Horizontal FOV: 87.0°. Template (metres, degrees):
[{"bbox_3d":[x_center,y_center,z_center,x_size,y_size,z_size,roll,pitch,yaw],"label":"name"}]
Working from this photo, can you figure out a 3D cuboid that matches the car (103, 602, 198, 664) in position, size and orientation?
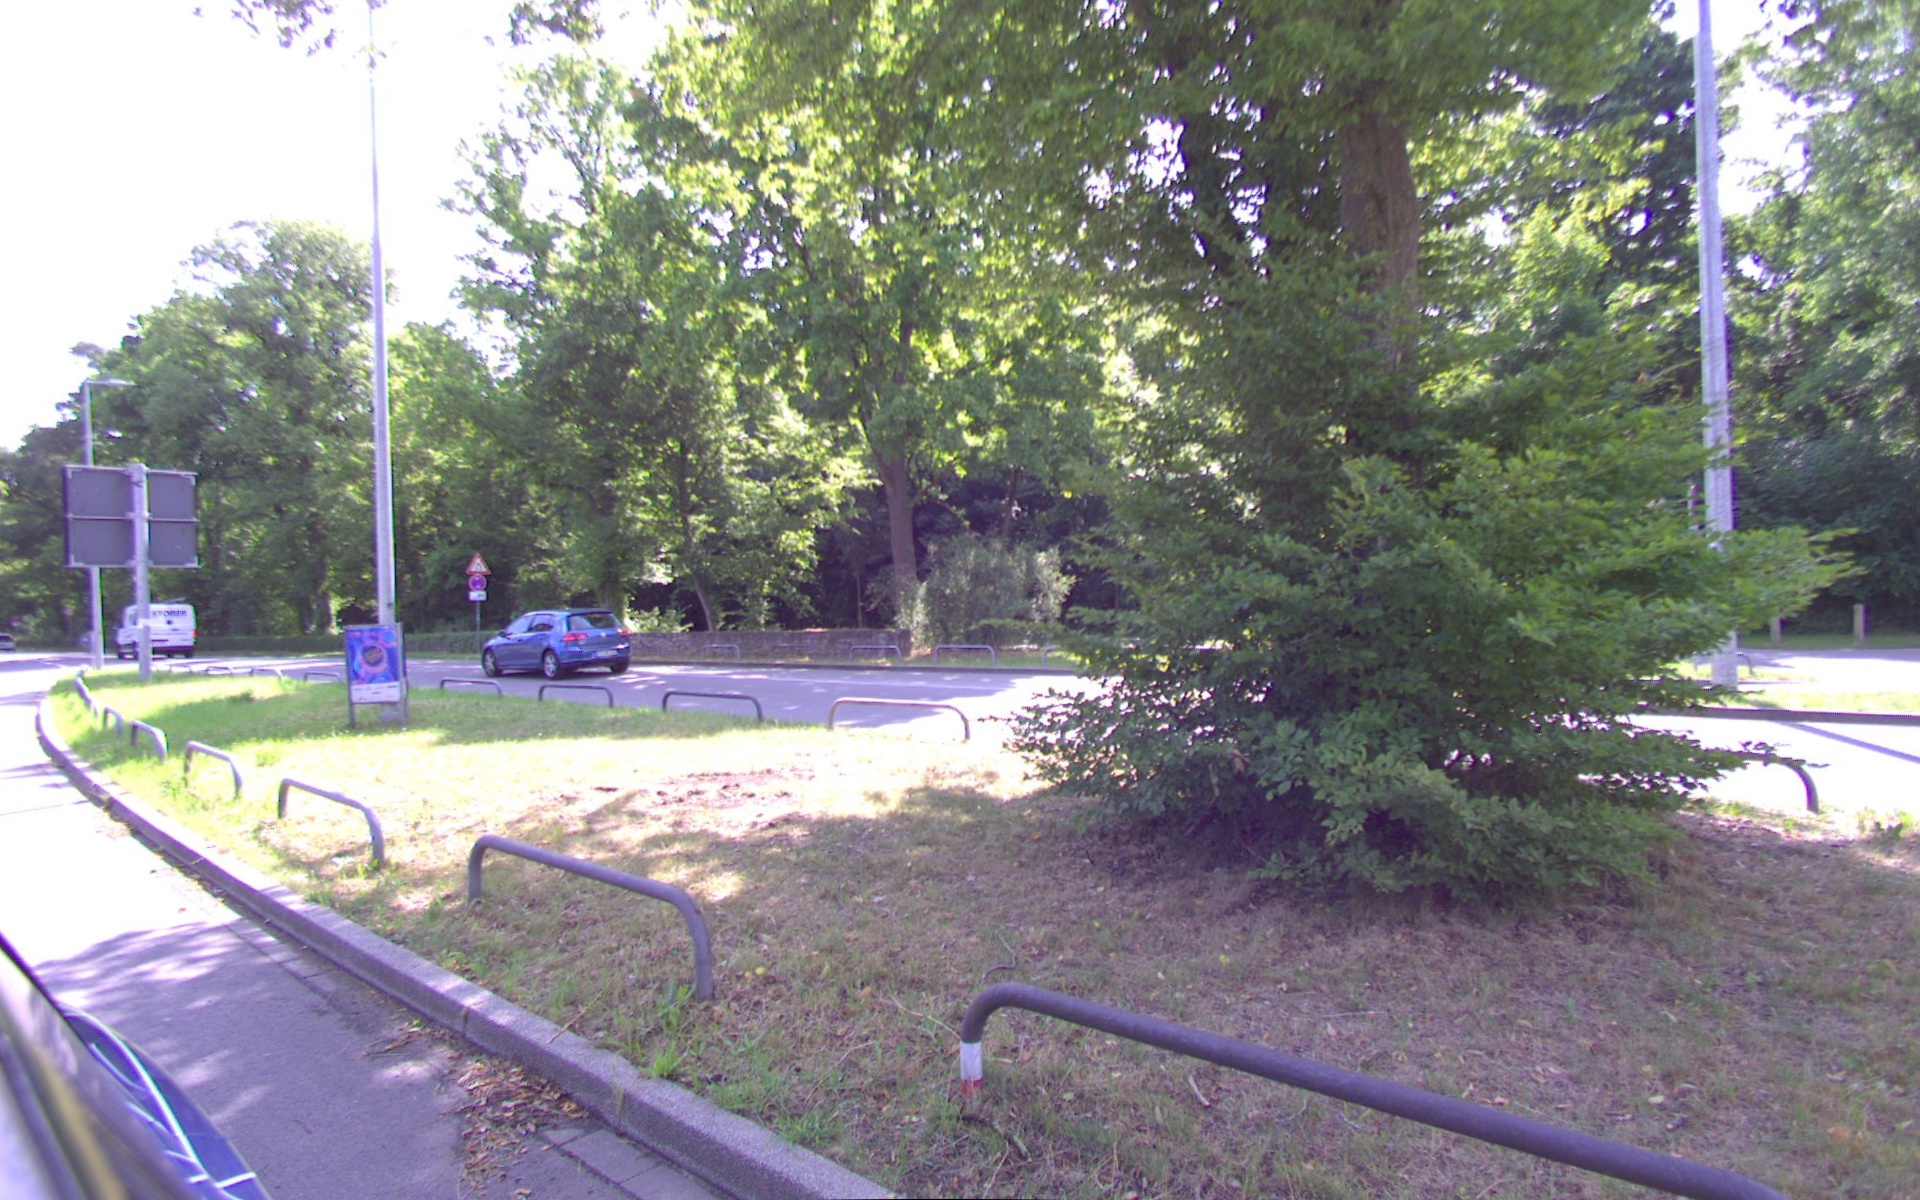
[{"bbox_3d":[-35.076,1.377,43.802,5.356,2.449,1.956,-1,1,38],"label":"car"}]

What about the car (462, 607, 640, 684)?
[{"bbox_3d":[-8.988,0.947,22.149,4.058,1.457,1.680,-1,1,36],"label":"car"}]

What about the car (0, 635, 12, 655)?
[{"bbox_3d":[-77.018,3.575,80.871,3.872,1.481,1.633,-1,0,43],"label":"car"}]
